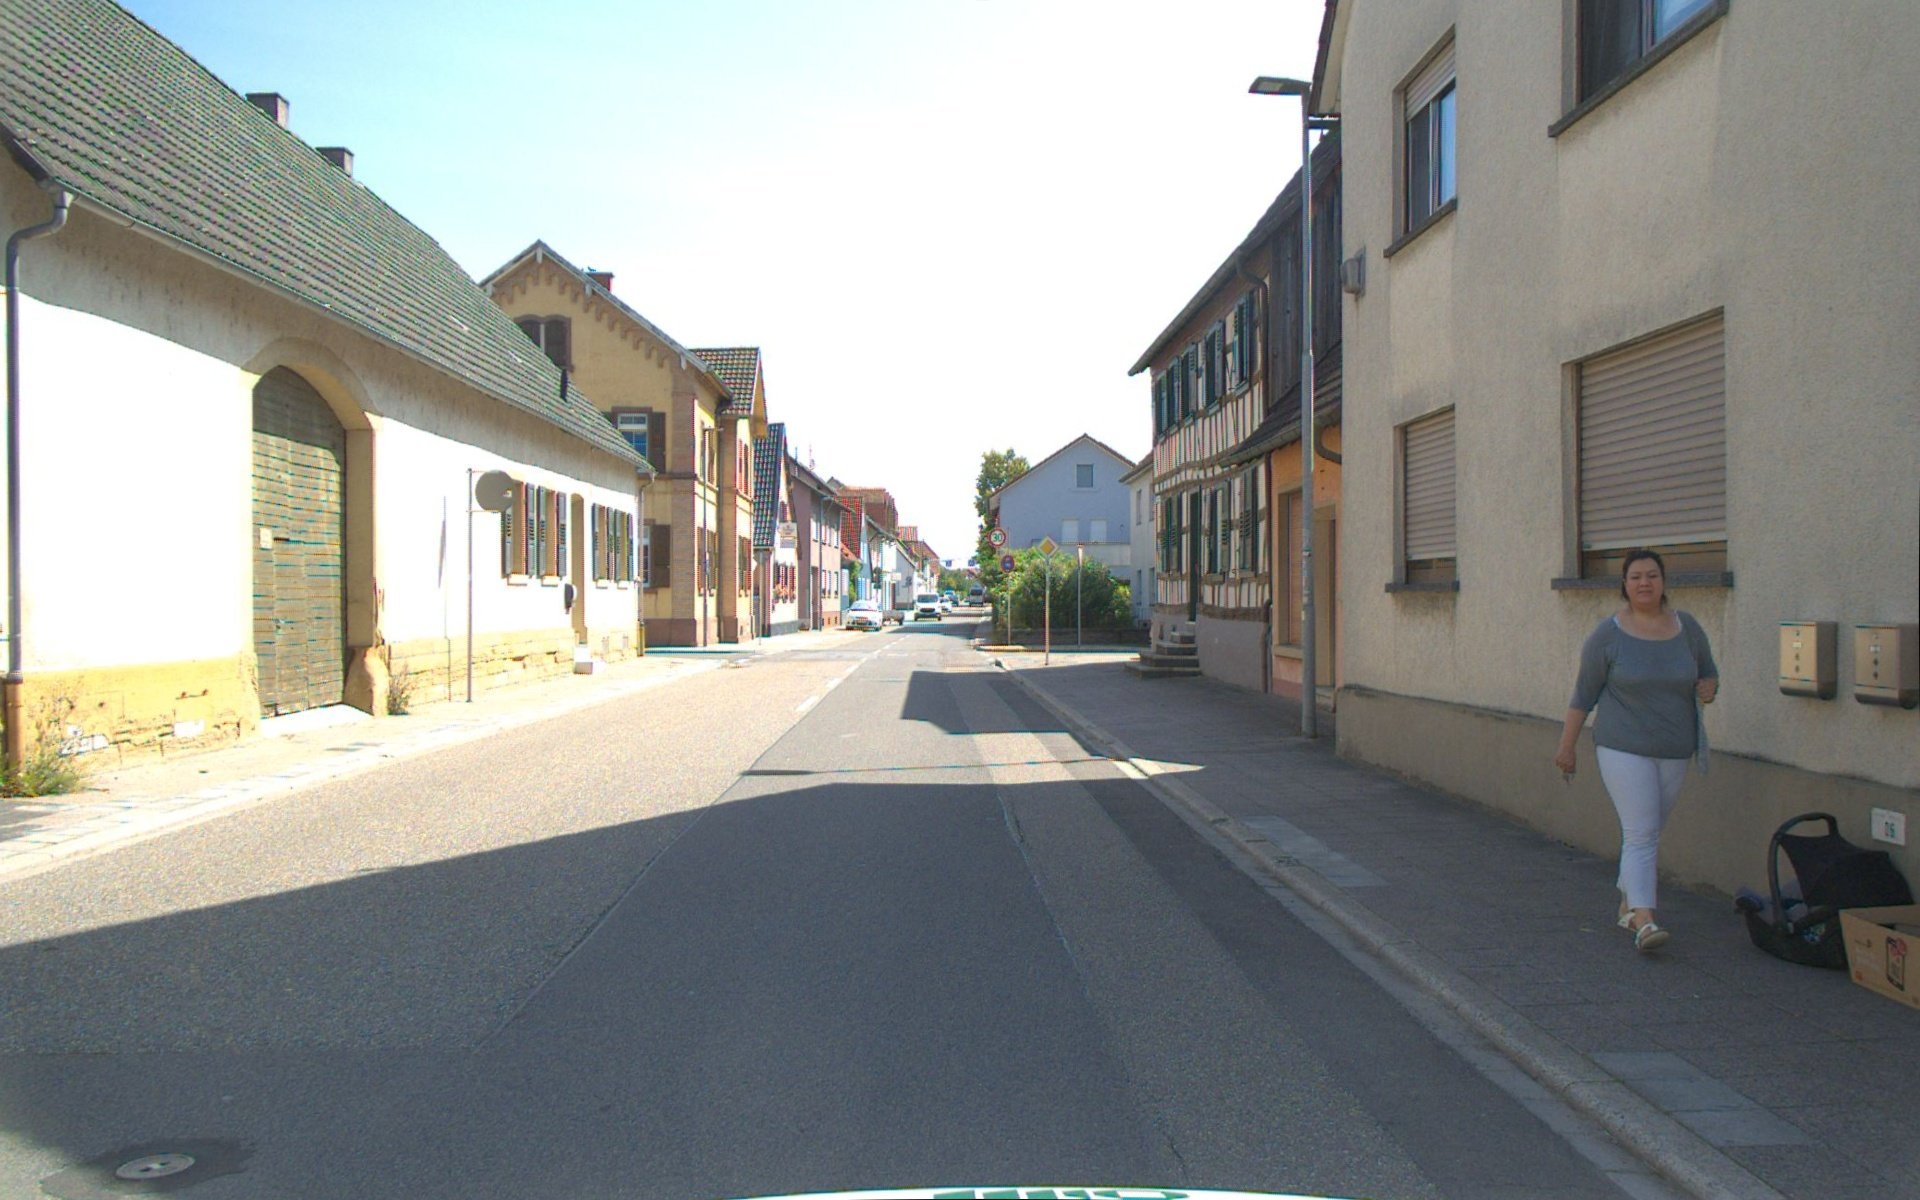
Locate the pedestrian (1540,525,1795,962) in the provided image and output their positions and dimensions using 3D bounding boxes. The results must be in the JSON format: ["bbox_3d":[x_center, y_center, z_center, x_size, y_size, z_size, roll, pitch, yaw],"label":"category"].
[{"bbox_3d":[2.906,0.554,6.874,0.704,1.693,0.893,0,0,2],"label":"pedestrian"}]

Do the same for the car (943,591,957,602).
[{"bbox_3d":[-1.376,-0.504,230.014,1.829,1.571,3.837,-1,0,-1],"label":"car"}]

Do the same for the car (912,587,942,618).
[{"bbox_3d":[-2.397,0.164,119.346,2.114,2.116,3.998,-1,-1,-2],"label":"car"}]

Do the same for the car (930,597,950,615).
[{"bbox_3d":[-1.958,0.565,163.150,1.953,1.780,4.000,0,0,0],"label":"car"}]

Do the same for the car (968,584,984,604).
[{"bbox_3d":[2.111,-0.773,218.853,1.976,2.612,3.999,-1,0,-1],"label":"car"}]

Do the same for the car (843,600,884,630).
[{"bbox_3d":[-5.014,0.770,86.436,1.953,1.467,3.999,-1,0,-1],"label":"car"}]

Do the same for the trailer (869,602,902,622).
[{"bbox_3d":[-4.630,0.742,102.935,1.953,1.109,3.999,-3,0,-2],"label":"trailer"}]
